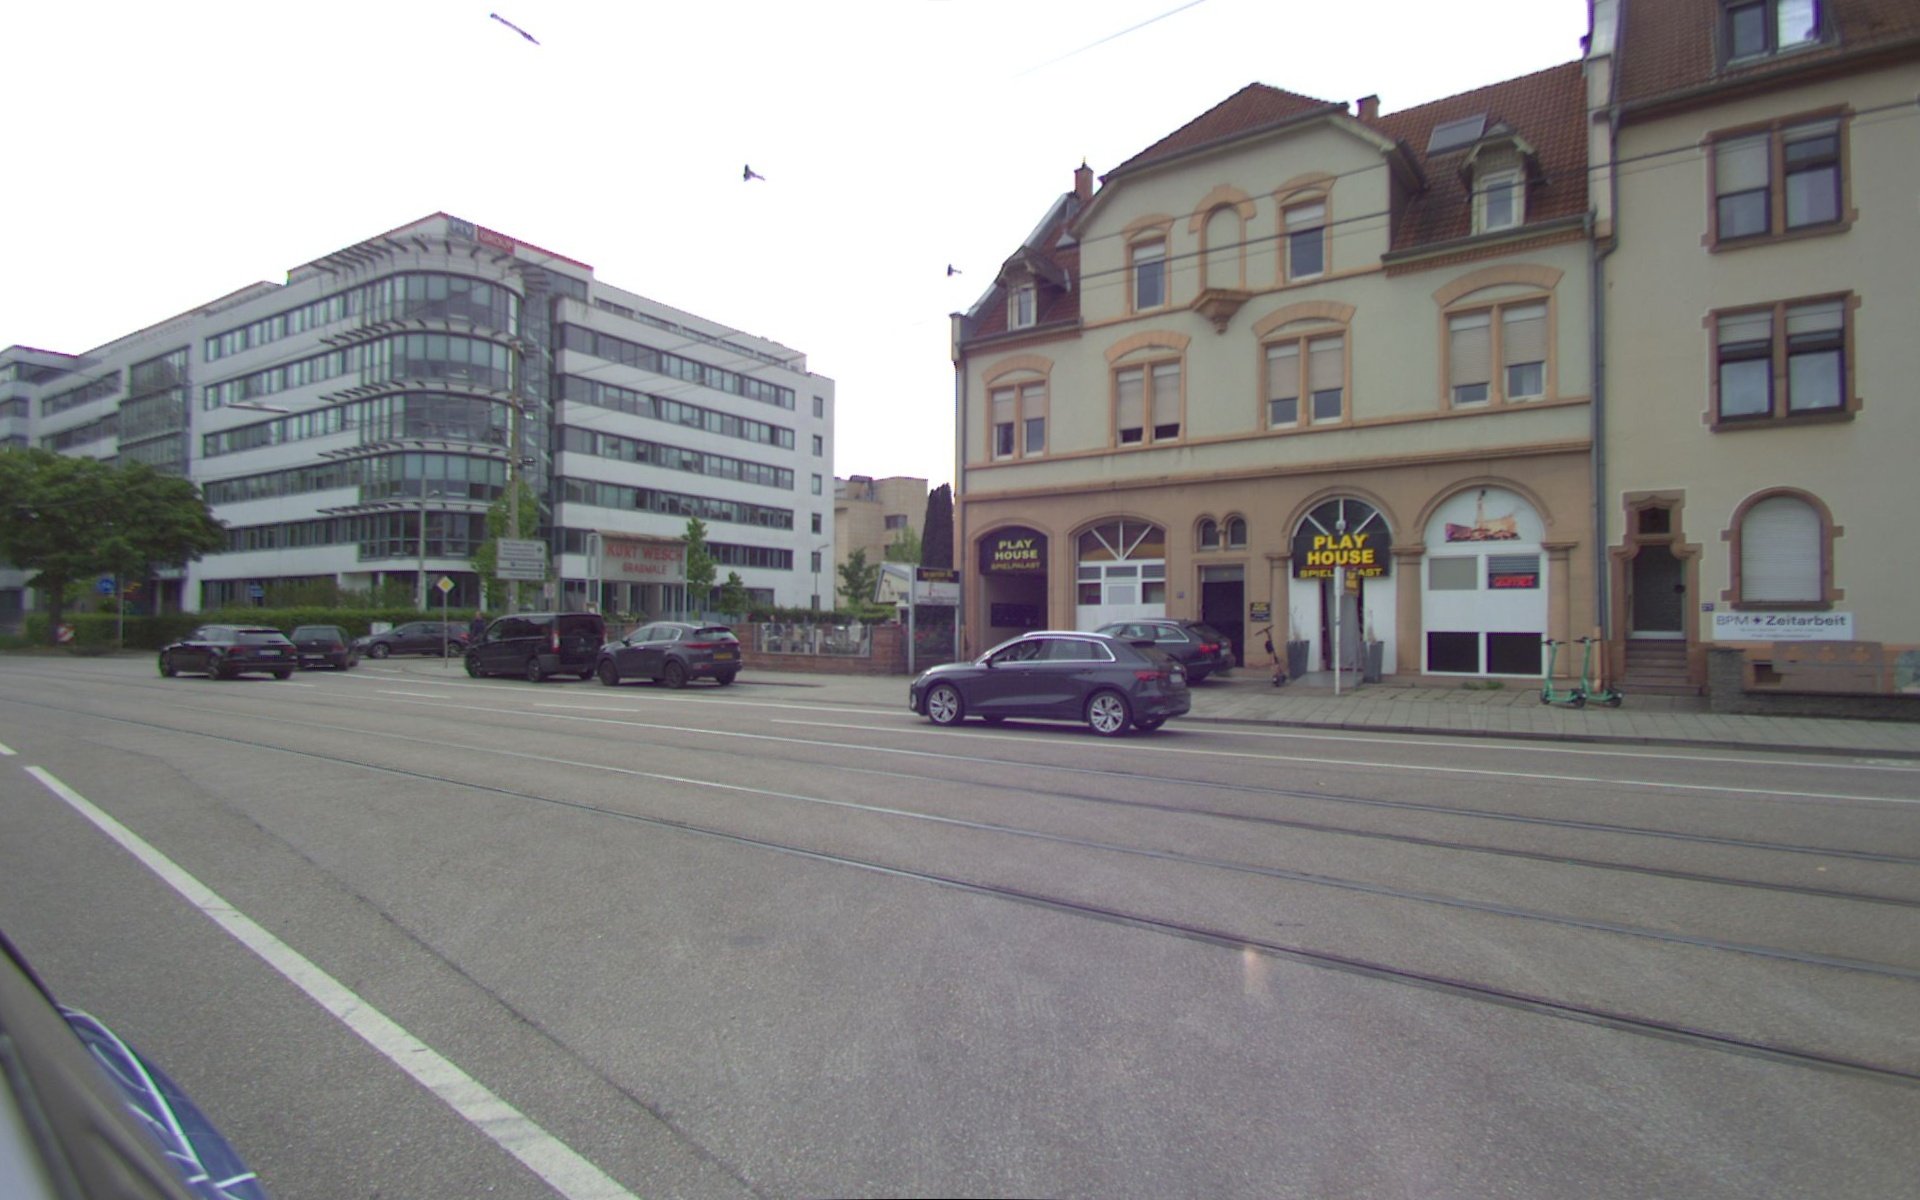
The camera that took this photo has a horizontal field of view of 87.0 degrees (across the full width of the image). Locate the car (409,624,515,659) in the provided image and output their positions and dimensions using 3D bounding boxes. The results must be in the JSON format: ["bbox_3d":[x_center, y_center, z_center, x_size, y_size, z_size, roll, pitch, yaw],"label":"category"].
[{"bbox_3d":[-22.262,1.844,45.400,1.721,1.433,3.973,-3,-3,33],"label":"car"}]

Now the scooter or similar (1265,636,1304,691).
[{"bbox_3d":[7.094,1.364,22.116,0.526,1.110,1.165,-1,1,32],"label":"scooter or similar"}]

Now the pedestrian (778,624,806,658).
[{"bbox_3d":[-10.067,2.477,60.787,1.180,2.029,1.208,0,-2,21],"label":"pedestrian"}]

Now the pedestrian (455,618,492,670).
[{"bbox_3d":[-17.419,1.555,36.239,1.057,1.839,0.796,-1,-1,37],"label":"pedestrian"}]

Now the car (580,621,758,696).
[{"bbox_3d":[-7.640,1.472,26.436,4.522,1.762,2.020,-2,-1,34],"label":"car"}]

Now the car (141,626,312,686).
[{"bbox_3d":[-19.746,1.470,27.197,4.800,1.484,1.891,-1,-3,30],"label":"car"}]

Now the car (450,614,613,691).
[{"bbox_3d":[-12.541,1.448,29.490,5.173,2.029,1.970,-1,0,35],"label":"car"}]

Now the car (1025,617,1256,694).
[{"bbox_3d":[4.105,1.192,23.421,4.893,1.504,1.976,-1,2,36],"label":"car"}]

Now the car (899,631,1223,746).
[{"bbox_3d":[1.442,1.219,14.970,4.408,1.439,1.867,-1,-3,31],"label":"car"}]

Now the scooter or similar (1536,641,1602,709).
[{"bbox_3d":[10.567,1.287,17.598,0.521,1.110,1.175,0,-1,7],"label":"scooter or similar"}]

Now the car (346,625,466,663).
[{"bbox_3d":[-22.434,1.780,41.062,1.817,1.462,3.928,-1,-2,45],"label":"car"}]

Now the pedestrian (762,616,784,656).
[{"bbox_3d":[-8.459,1.630,45.847,0.761,1.787,0.628,-1,-1,39],"label":"pedestrian"}]

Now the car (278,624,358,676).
[{"bbox_3d":[-20.742,1.627,32.843,1.765,1.542,4.154,3,-4,-27],"label":"car"}]

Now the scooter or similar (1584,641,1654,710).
[{"bbox_3d":[11.354,1.284,17.463,0.521,1.110,1.175,0,-1,7],"label":"scooter or similar"}]
